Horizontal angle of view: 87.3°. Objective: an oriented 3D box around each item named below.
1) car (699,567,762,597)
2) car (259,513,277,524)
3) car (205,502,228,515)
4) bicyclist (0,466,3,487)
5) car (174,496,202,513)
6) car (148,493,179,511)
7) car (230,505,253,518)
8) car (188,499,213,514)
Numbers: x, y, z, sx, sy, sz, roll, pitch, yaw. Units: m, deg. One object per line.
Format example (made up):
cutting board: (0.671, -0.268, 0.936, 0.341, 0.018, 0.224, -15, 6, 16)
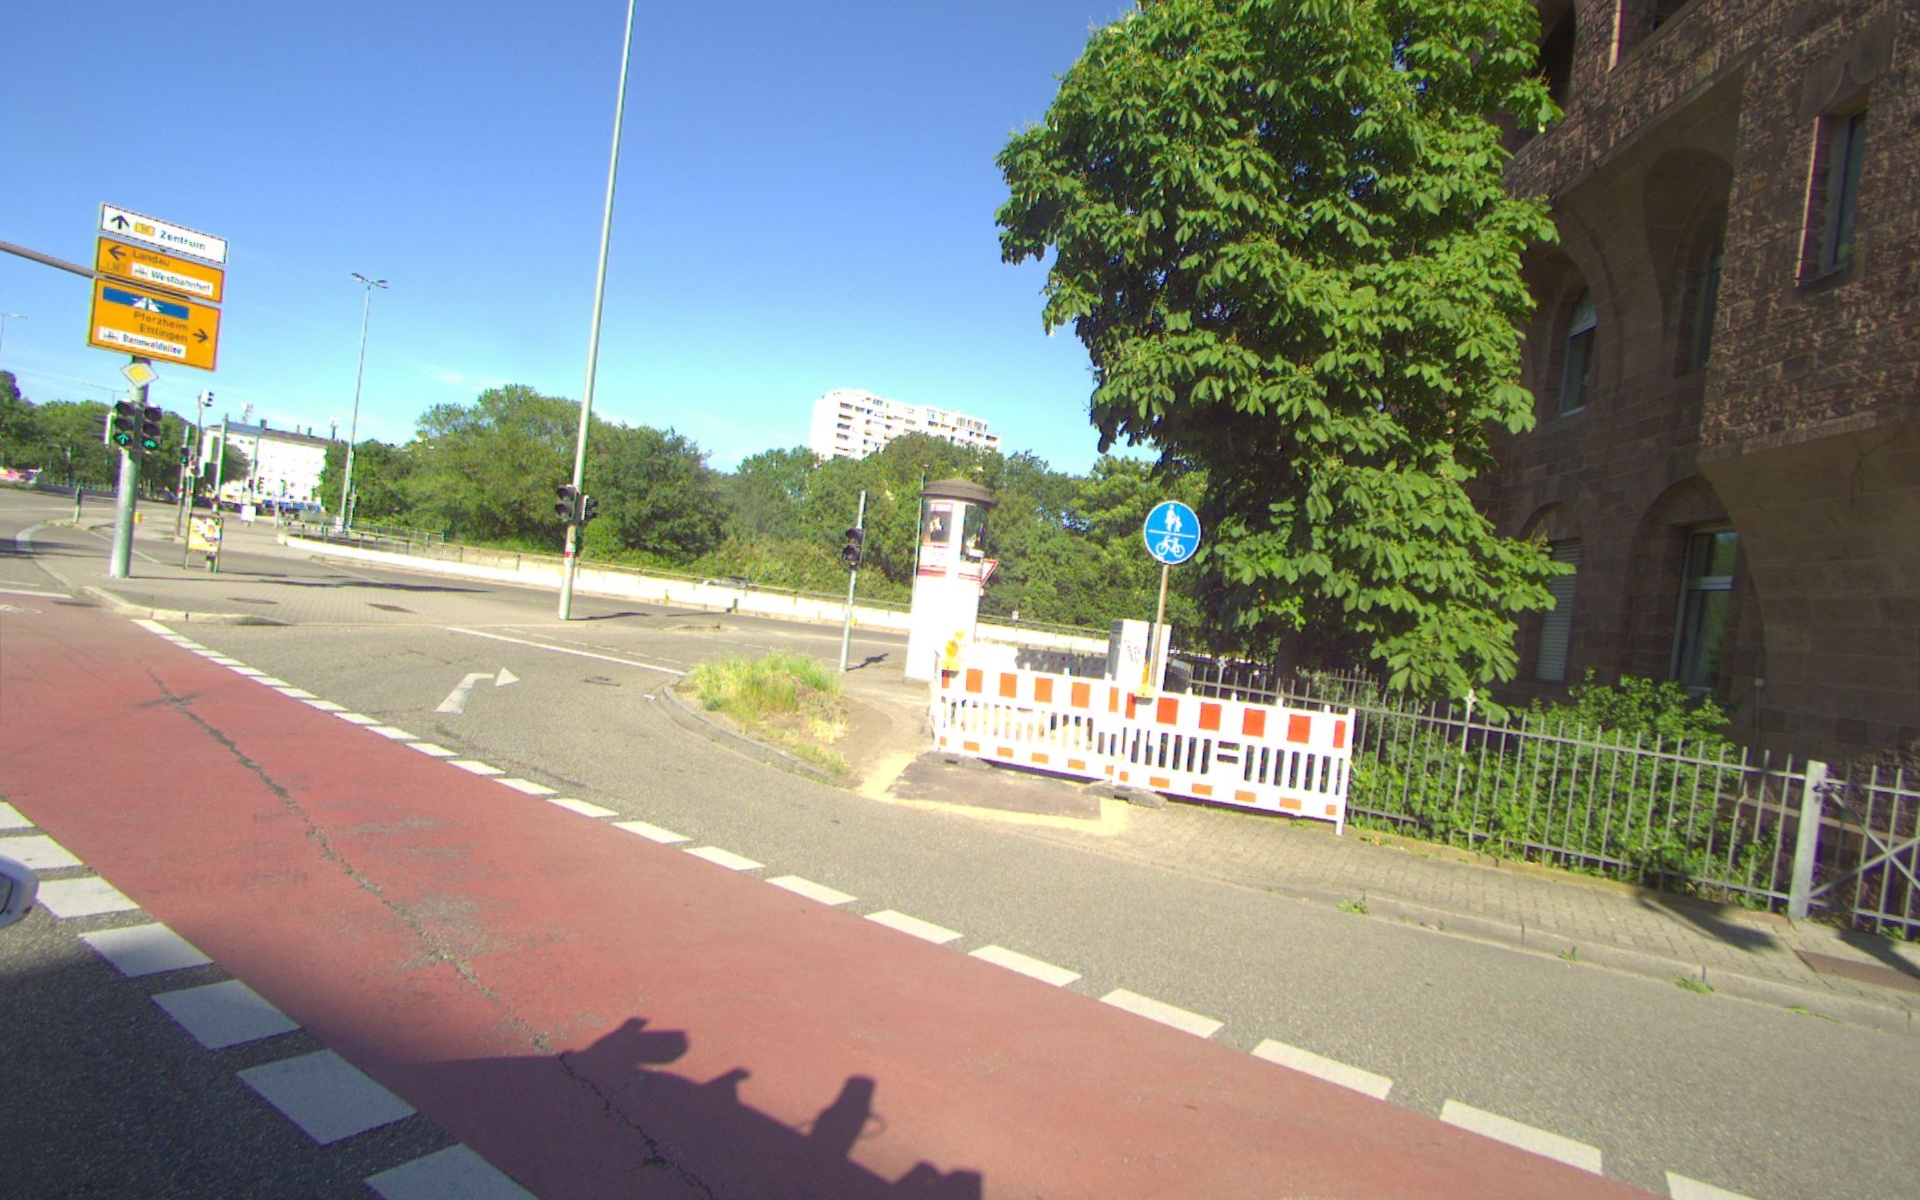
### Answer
car: (-16.954, -1.324, 74.313, 4.186, 1.571, 1.852, 8, 1, -21)
car: (-119.208, -14.096, 173.280, 1.930, 1.547, 4.066, 7, 0, -29)
car: (-106.704, -13.113, 144.409, 1.930, 1.547, 4.065, 7, 0, -29)
bicyclist: (-19.294, -1.858, 19.631, 0.722, 1.680, 1.099, 8, 1, -43)
car: (-91.912, -11.372, 119.844, 1.930, 1.547, 4.066, 7, 0, -29)
car: (-85.507, -10.490, 108.038, 1.931, 1.547, 4.064, 7, 0, -30)
car: (-118.189, -14.539, 165.456, 1.925, 1.547, 4.077, 7, 0, -21)
car: (-100.910, -12.443, 133.729, 1.930, 1.547, 4.065, 7, 0, -29)
